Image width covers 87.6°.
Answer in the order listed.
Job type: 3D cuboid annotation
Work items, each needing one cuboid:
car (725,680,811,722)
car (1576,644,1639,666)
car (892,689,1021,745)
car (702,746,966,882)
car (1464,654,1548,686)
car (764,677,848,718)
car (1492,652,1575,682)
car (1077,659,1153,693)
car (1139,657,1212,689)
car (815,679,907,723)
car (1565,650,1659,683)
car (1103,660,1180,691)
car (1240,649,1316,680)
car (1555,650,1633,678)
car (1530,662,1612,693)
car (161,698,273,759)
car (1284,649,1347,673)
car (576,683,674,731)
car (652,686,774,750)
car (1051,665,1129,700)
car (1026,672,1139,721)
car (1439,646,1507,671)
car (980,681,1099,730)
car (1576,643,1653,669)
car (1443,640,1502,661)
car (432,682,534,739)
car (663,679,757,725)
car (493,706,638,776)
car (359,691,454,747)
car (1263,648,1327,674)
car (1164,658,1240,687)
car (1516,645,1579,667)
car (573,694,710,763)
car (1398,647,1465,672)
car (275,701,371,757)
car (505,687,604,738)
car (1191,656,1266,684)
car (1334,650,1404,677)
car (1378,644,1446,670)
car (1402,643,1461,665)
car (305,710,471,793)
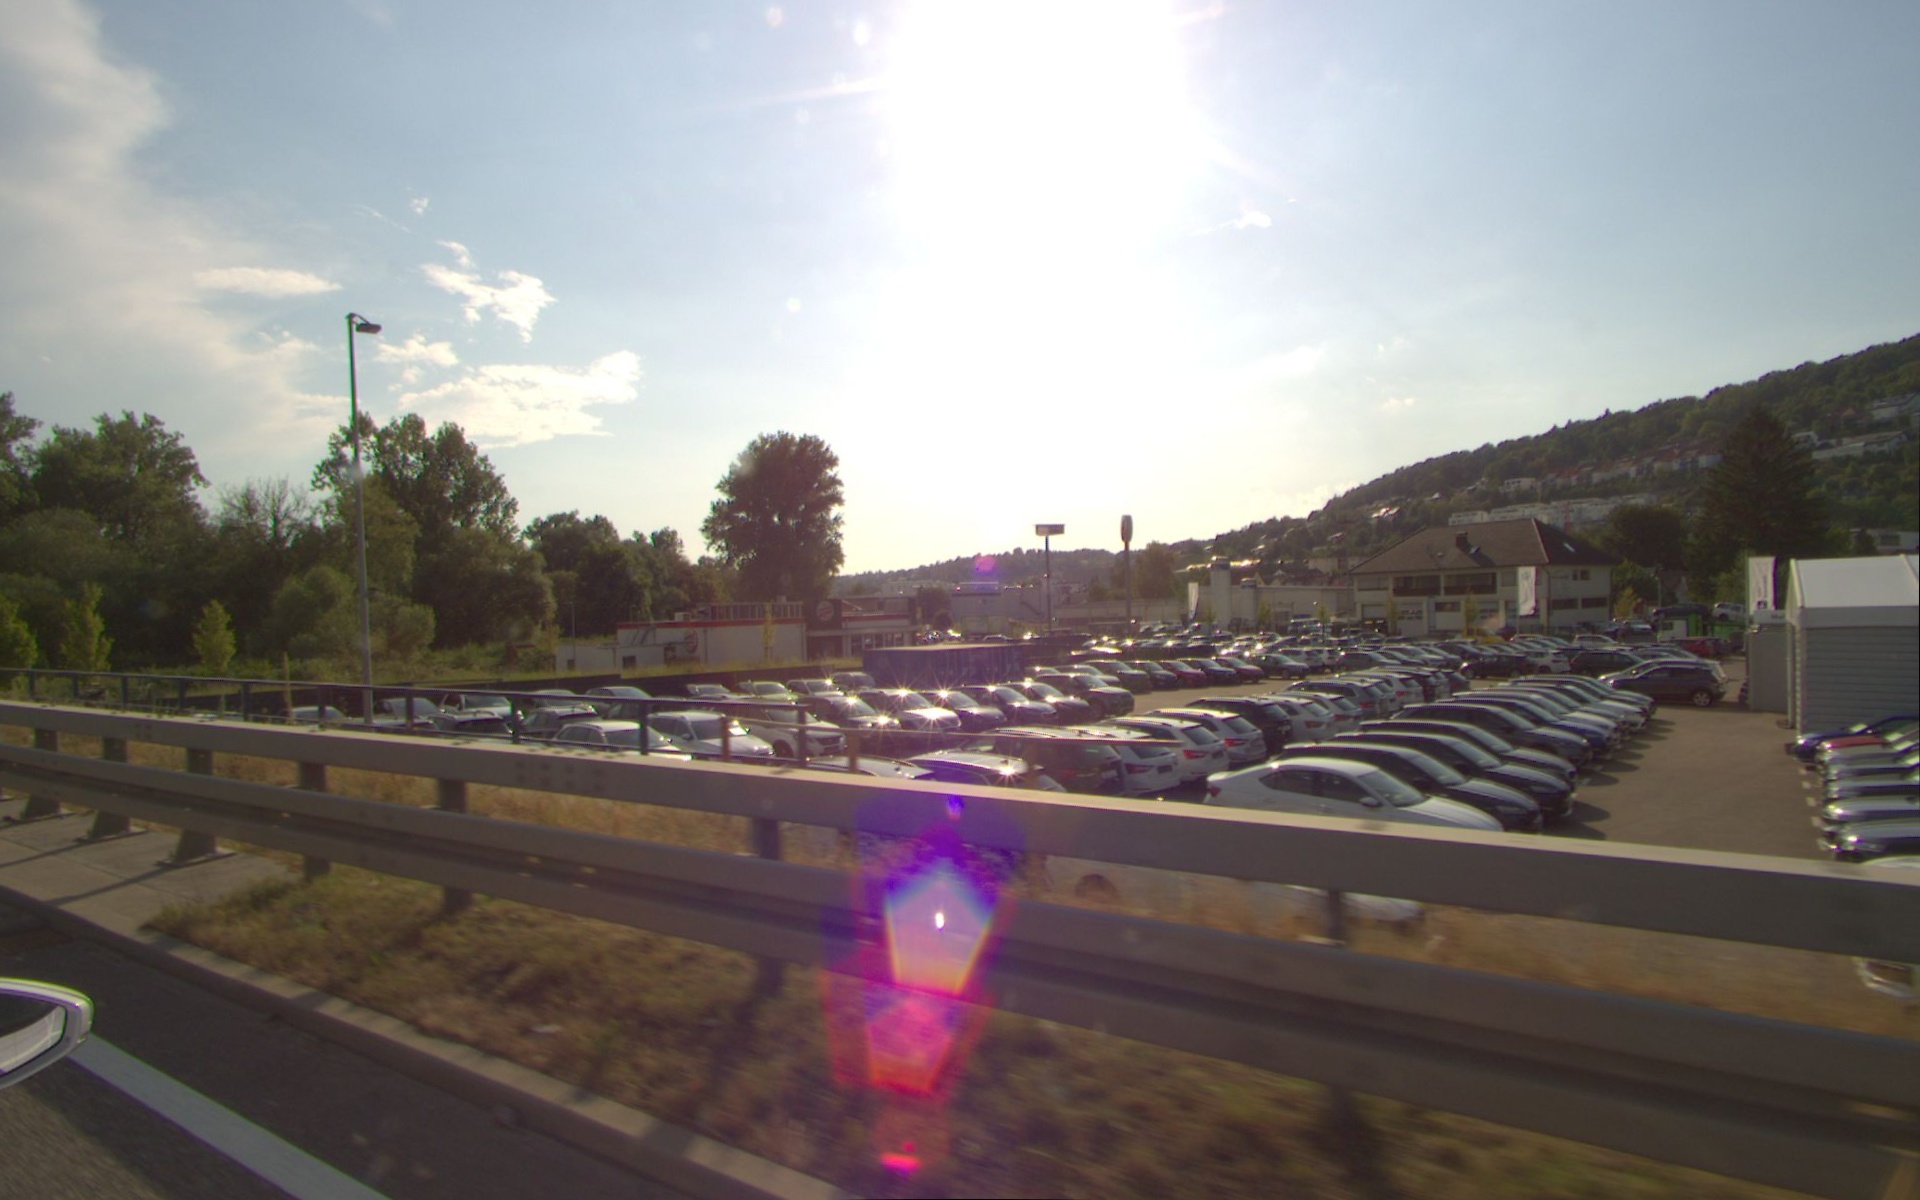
[{"bbox_3d":[-7.936,4.109,41.201,1.694,1.483,3.964,1,-2,-42],"label":"car"},{"bbox_3d":[49.982,4.200,77.293,1.734,1.597,3.748,1,-2,-41],"label":"car"},{"bbox_3d":[-0.141,3.683,32.085,3.949,1.483,1.700,-1,-2,37],"label":"car"},{"bbox_3d":[-2.018,3.223,15.676,3.943,1.483,1.703,-1,-2,32],"label":"car"},{"bbox_3d":[30.267,3.849,55.582,1.731,1.597,3.755,1,-2,-35],"label":"car"},{"bbox_3d":[-6.589,4.111,42.664,1.694,1.483,3.964,1,-2,-42],"label":"car"},{"bbox_3d":[32.813,3.790,57.394,1.731,1.597,3.755,1,-2,-35],"label":"car"},{"bbox_3d":[8.068,3.943,52.342,1.734,1.597,3.748,1,-2,-41],"label":"car"},{"bbox_3d":[11.960,4.040,55.726,1.734,1.597,3.748,1,-2,-41],"label":"car"},{"bbox_3d":[-4.347,4.356,43.597,3.960,1.614,1.942,-2,-2,45],"label":"car"},{"bbox_3d":[33.957,3.438,52.216,1.731,1.597,3.755,1,-2,-35],"label":"car"},{"bbox_3d":[9.817,4.077,54.385,1.694,1.483,3.964,1,-2,-42],"label":"car"},{"bbox_3d":[19.490,3.903,61.452,3.959,1.772,1.982,-2,-2,44],"label":"car"},{"bbox_3d":[39.593,3.976,62.622,1.731,1.597,3.755,1,-2,-35],"label":"car"},{"bbox_3d":[35.729,4.502,58.639,1.731,1.597,3.755,1,-2,-35],"label":"car"},{"bbox_3d":[-22.501,3.822,30.292,3.949,1.483,1.700,-1,-2,37],"label":"car"},{"bbox_3d":[24.468,4.179,69.023,1.732,1.597,3.752,1,-2,-37],"label":"car"},{"bbox_3d":[-12.584,3.945,37.484,3.960,1.483,1.942,-2,-2,45],"label":"car"},{"bbox_3d":[-7.771,3.624,31.319,3.960,1.664,1.942,-2,-2,45],"label":"car"},{"bbox_3d":[6.586,4.165,51.007,1.734,1.597,3.748,1,-2,-41],"label":"car"},{"bbox_3d":[4.601,3.597,37.878,3.949,1.623,1.700,-1,-2,37],"label":"car"},{"bbox_3d":[35.112,4.004,68.574,1.734,1.597,3.748,1,-2,-41],"label":"car"},{"bbox_3d":[2.804,3.700,35.703,3.949,1.483,1.700,-1,-2,37],"label":"car"},{"bbox_3d":[41.651,3.547,63.749,1.731,1.597,3.755,1,-2,-35],"label":"car"},{"bbox_3d":[40.690,4.008,79.554,1.732,1.597,3.752,1,-2,-37],"label":"car"},{"bbox_3d":[-16.665,3.791,34.899,4.201,1.663,1.942,-2,-2,45],"label":"car"},{"bbox_3d":[-9.853,3.960,39.320,3.959,1.521,1.796,-2,-2,44],"label":"car"},{"bbox_3d":[-10.550,3.688,26.725,3.946,1.483,1.702,-1,-2,35],"label":"car"},{"bbox_3d":[-18.559,3.911,33.517,1.807,1.518,3.961,1,-2,-44],"label":"car"},{"bbox_3d":[22.560,4.096,67.494,1.732,1.597,3.752,1,-2,-37],"label":"car"},{"bbox_3d":[13.797,4.097,57.257,1.694,1.483,3.964,1,-2,-42],"label":"car"},{"bbox_3d":[44.391,4.222,75.695,1.734,1.597,3.748,1,-2,-41],"label":"car"},{"bbox_3d":[-9.378,3.690,29.371,4.300,1.644,1.700,-1,-2,37],"label":"car"},{"bbox_3d":[31.729,3.997,67.421,1.734,1.597,3.748,1,-2,-41],"label":"car"},{"bbox_3d":[-20.235,4.037,31.754,1.807,1.371,3.961,1,-2,-44],"label":"car"},{"bbox_3d":[-14.682,4.011,36.178,3.960,1.483,1.942,-2,-2,45],"label":"car"},{"bbox_3d":[15.629,4.047,58.378,1.694,1.483,3.964,1,-2,-42],"label":"car"},{"bbox_3d":[25.878,3.968,63.445,1.734,1.597,3.748,1,-2,-41],"label":"car"},{"bbox_3d":[29.769,3.717,66.008,1.734,1.597,3.748,1,-2,-41],"label":"car"},{"bbox_3d":[36.155,4.096,76.856,1.732,1.597,3.752,1,-2,-37],"label":"car"},{"bbox_3d":[-13.173,3.415,23.012,3.943,1.483,1.703,-1,-2,33],"label":"car"}]
